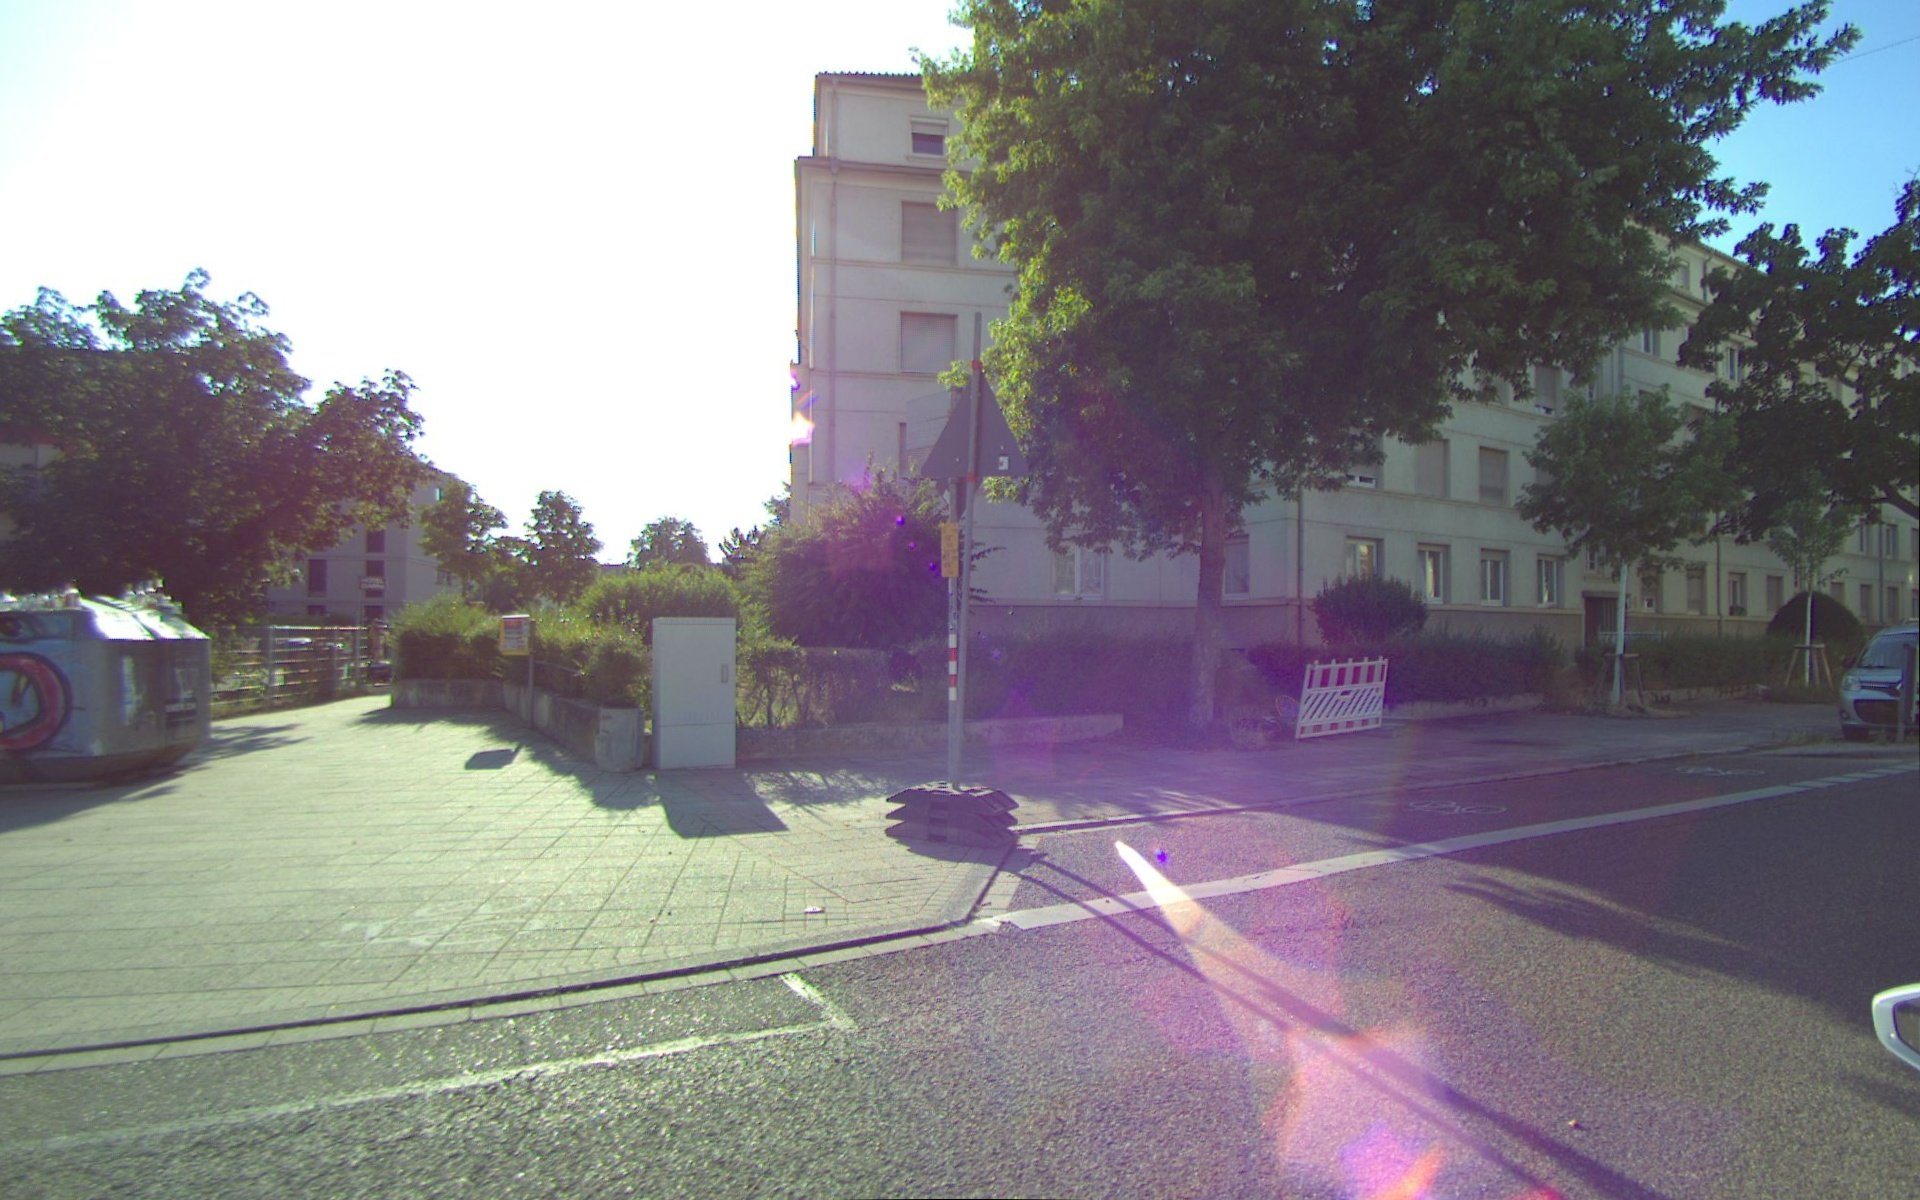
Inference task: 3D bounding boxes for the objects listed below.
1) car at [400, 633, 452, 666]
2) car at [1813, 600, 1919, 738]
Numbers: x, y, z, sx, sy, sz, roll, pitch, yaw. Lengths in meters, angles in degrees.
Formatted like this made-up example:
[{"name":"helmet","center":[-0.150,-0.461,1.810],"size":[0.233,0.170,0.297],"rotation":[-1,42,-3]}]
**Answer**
[{"name":"car","center":[-27.162,2.508,51.220],"size":[1.465,1.528,3.148],"rotation":[2,0,-12]},{"name":"car","center":[15.193,1.060,15.423],"size":[4.435,1.921,1.833],"rotation":[2,-4,-31]}]
